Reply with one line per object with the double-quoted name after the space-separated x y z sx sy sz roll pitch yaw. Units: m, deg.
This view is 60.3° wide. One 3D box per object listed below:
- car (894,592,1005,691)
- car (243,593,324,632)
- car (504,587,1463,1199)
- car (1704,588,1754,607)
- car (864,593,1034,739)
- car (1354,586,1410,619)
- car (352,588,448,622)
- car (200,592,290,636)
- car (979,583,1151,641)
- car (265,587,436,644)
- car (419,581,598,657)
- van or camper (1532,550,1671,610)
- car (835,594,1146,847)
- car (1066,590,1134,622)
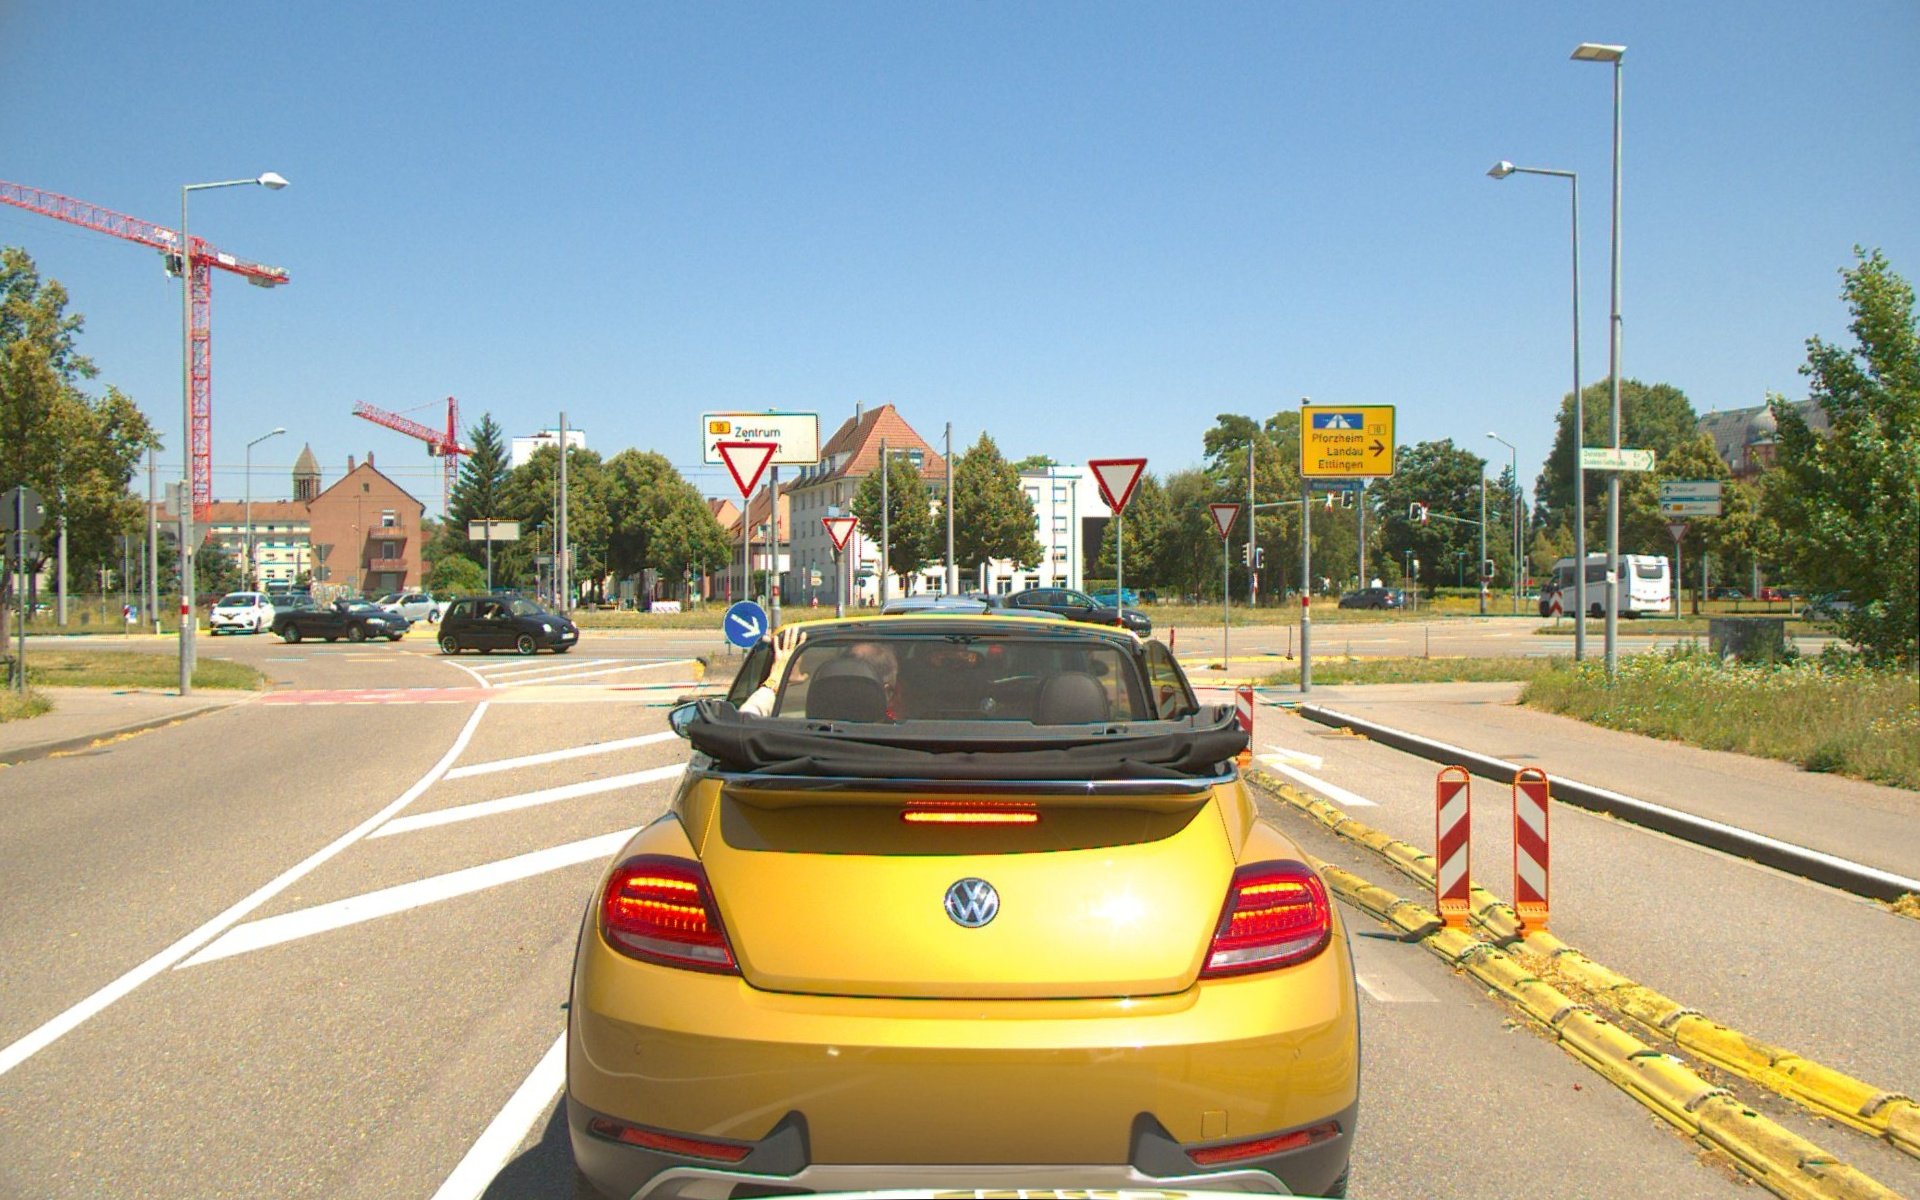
-0.190 0.636 27.472 1.701 1.503 3.999 0 0 -1 "car"
-27.991 0.504 68.544 1.720 1.576 3.999 0 0 -1 "car"
0.016 0.704 4.855 1.717 1.447 3.776 0 0 -1 "car"
71.240 -0.198 153.282 3.923 1.744 1.991 0 0 -17 "car"
-0.133 0.662 18.671 1.701 1.467 3.999 0 0 -1 "car"
21.320 0.136 83.661 1.615 1.634 3.222 0 0 -8 "car"
-26.319 0.232 77.897 1.676 1.526 4.210 0 0 32 "car"
-27.020 0.515 62.639 1.720 1.576 3.999 0 0 -1 "car"
2.806 0.296 43.751 4.422 1.472 1.824 0 0 7 "car"
-18.872 0.472 51.221 4.835 1.685 2.000 0 0 20 "car"
-11.408 0.451 41.844 3.902 1.847 2.001 0 0 16 "car"
30.727 -0.936 79.574 2.462 2.741 7.485 0 0 -14 "van or camper"
0.152 0.702 11.662 1.810 1.467 3.999 0 0 -1 "car"
8.440 0.372 99.610 3.902 1.870 2.002 0 0 10 "car"
